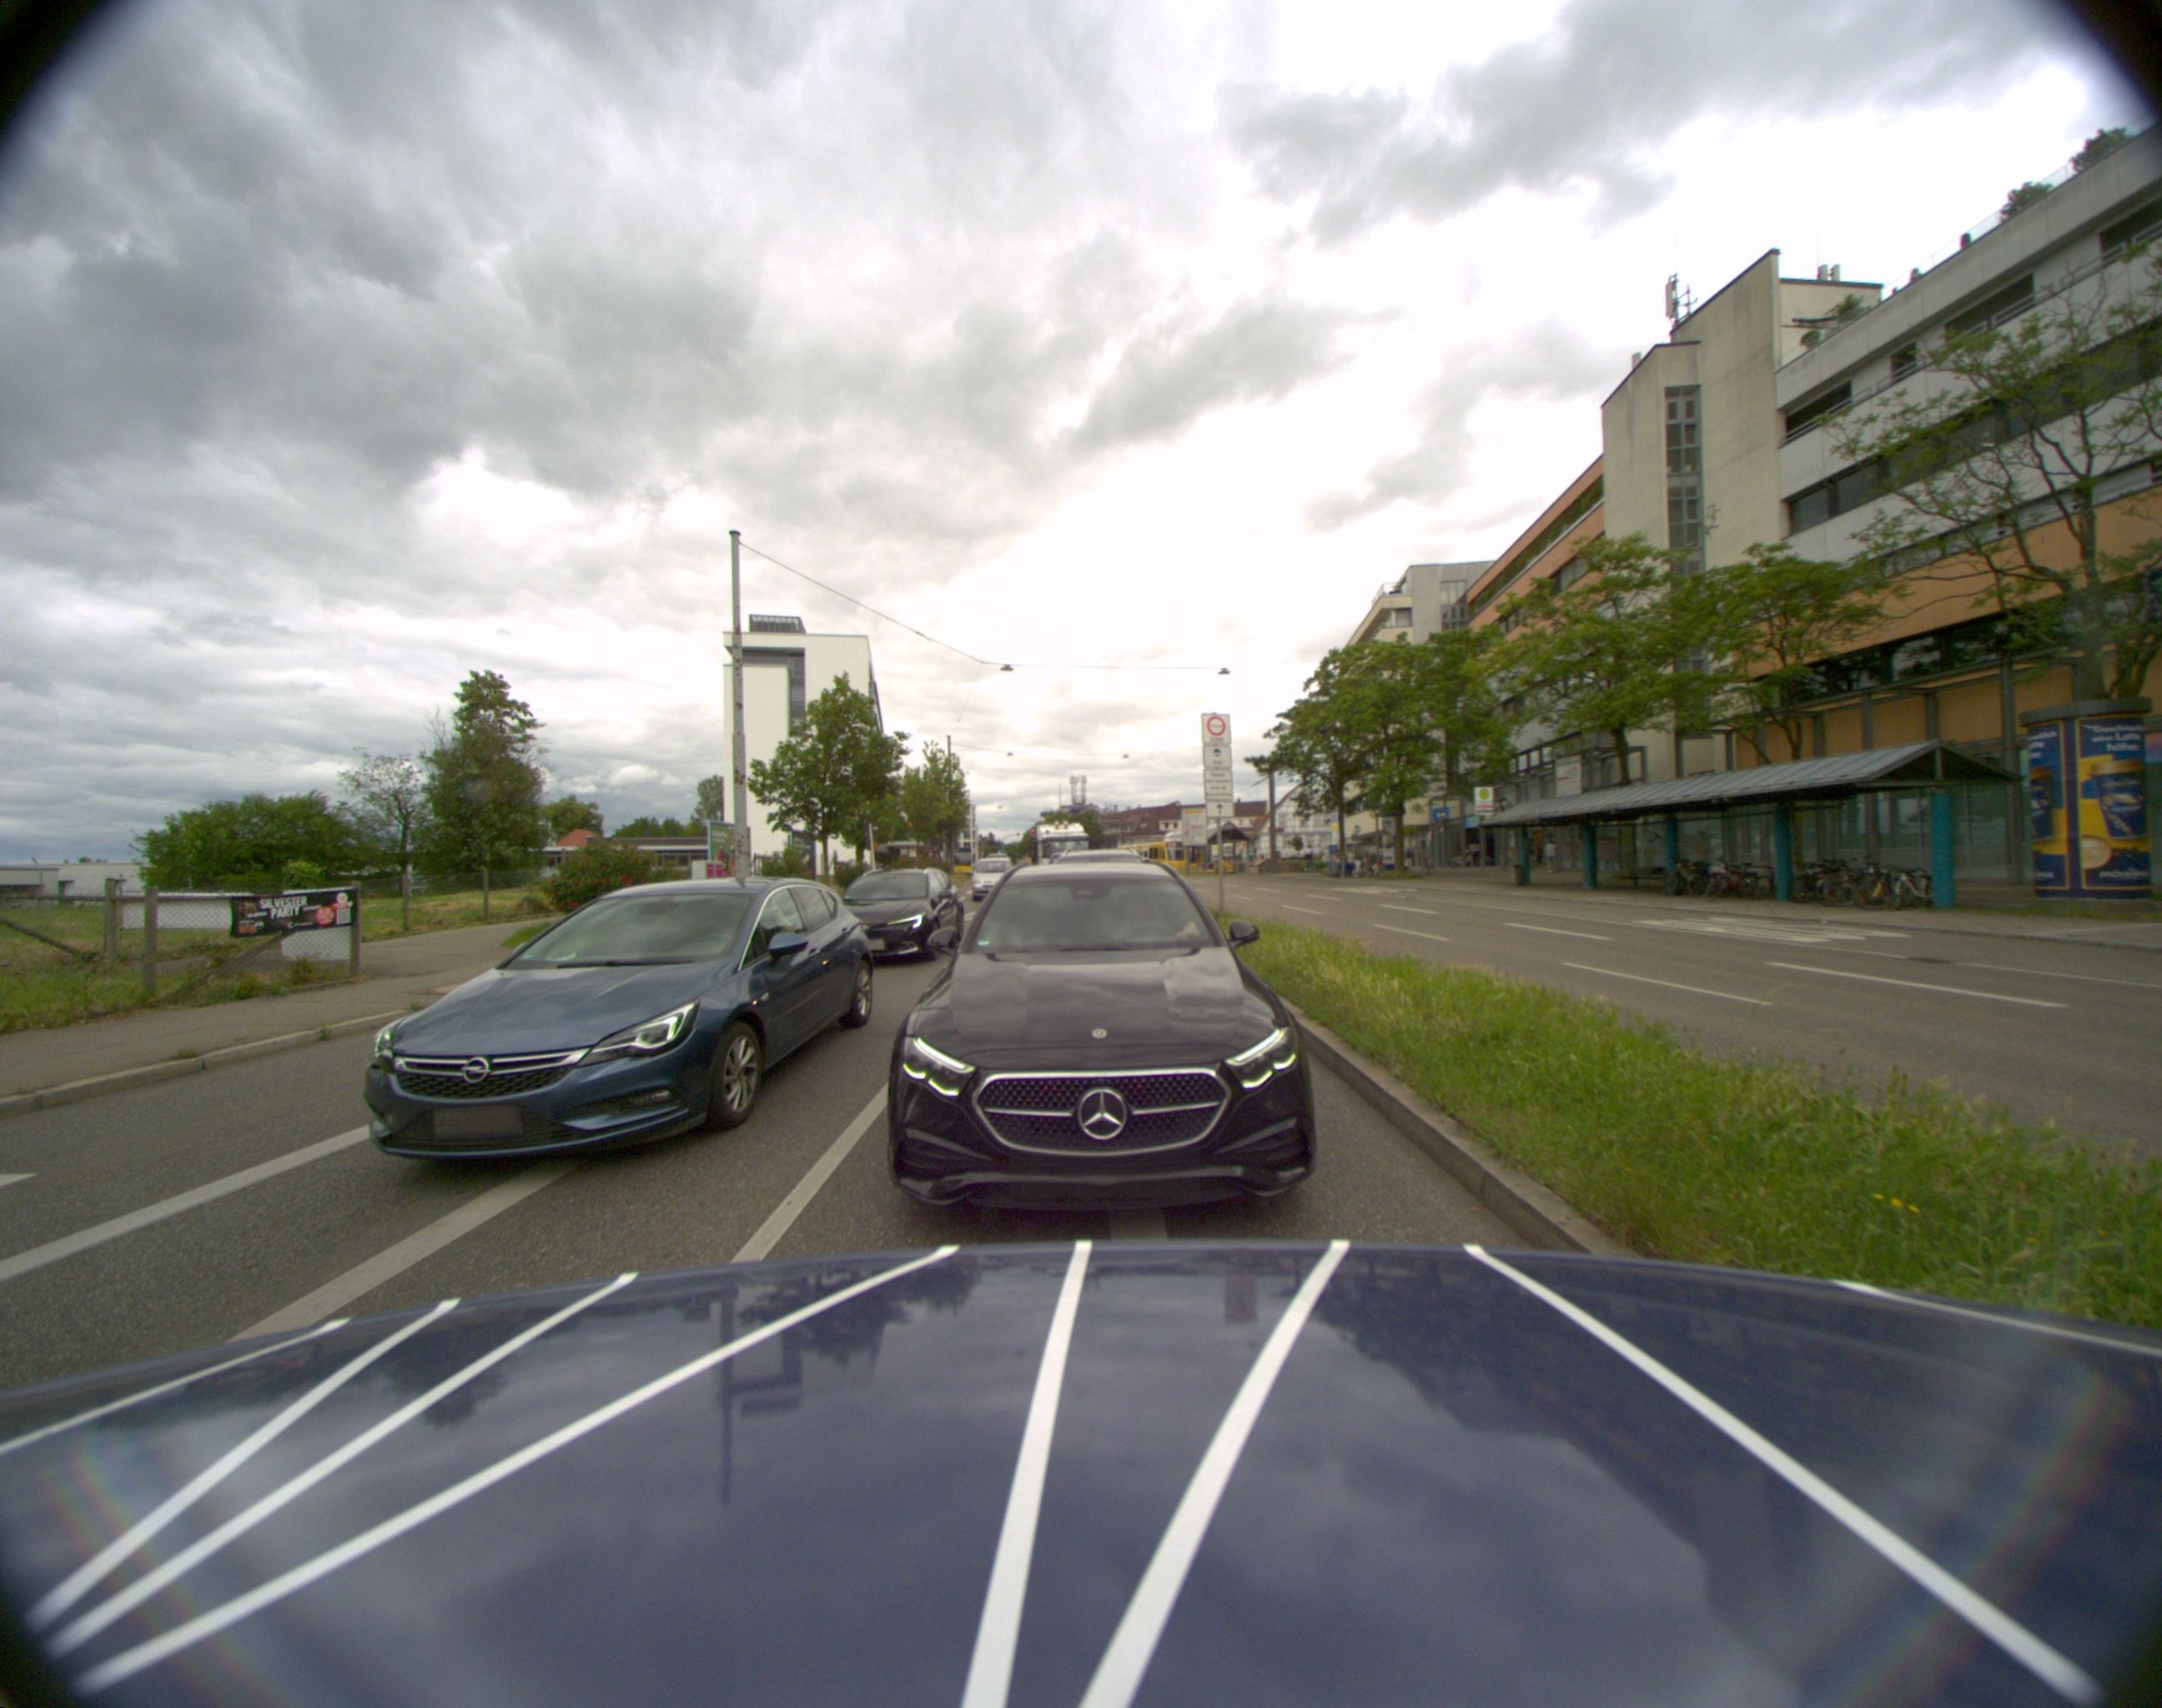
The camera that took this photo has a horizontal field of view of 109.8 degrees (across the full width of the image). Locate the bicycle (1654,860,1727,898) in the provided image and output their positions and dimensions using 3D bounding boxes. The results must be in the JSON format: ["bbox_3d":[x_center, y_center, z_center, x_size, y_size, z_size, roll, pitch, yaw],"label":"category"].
[{"bbox_3d":[18.203,0.745,22.708,1.735,1.035,0.549,-3,1,-2],"label":"bicycle"}]

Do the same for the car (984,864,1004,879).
[{"bbox_3d":[-10.232,2.029,89.078,2.001,1.592,3.995,-1,0,-12],"label":"car"}]

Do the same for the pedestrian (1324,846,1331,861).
[{"bbox_3d":[24.170,-0.049,74.385,0.555,1.485,0.454,-1,1,8],"label":"pedestrian"}]

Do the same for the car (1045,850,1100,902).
[{"bbox_3d":[-0.369,0.742,28.349,1.865,1.773,3.999,-1,0,-2],"label":"car"}]

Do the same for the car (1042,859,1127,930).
[{"bbox_3d":[0.043,0.910,18.913,1.865,1.520,3.999,-1,0,-1],"label":"car"}]

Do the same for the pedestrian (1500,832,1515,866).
[{"bbox_3d":[25.274,-0.314,44.990,0.566,2.002,0.611,-1,1,6],"label":"pedestrian"}]

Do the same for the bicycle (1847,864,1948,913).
[{"bbox_3d":[18.684,0.782,17.403,1.735,1.035,0.549,-2,1,-2],"label":"bicycle"}]

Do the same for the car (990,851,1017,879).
[{"bbox_3d":[-5.703,0.787,55.799,1.852,1.875,4.134,-3,0,-6],"label":"car"}]

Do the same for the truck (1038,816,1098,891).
[{"bbox_3d":[-0.769,-0.044,36.728,2.490,3.258,7.428,-1,0,-4],"label":"truck"}]

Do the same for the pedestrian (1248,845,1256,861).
[{"bbox_3d":[22.355,-0.141,99.151,0.879,2.002,1.010,-1,1,6],"label":"pedestrian"}]

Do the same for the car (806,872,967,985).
[{"bbox_3d":[-3.080,1.119,12.853,1.665,1.448,3.921,-2,0,0],"label":"car"}]

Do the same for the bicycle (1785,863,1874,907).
[{"bbox_3d":[19.024,0.772,19.314,1.735,1.035,0.549,-2,1,-2],"label":"bicycle"}]

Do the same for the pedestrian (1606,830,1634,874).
[{"bbox_3d":[25.219,-0.088,35.562,0.710,2.002,0.794,-2,1,-5],"label":"pedestrian"}]

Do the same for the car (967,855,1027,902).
[{"bbox_3d":[-3.274,0.916,30.163,1.851,1.606,3.783,-3,0,0],"label":"car"}]

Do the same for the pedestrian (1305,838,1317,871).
[{"bbox_3d":[16.161,0.048,53.436,0.590,2.294,0.608,-1,1,-2],"label":"pedestrian"}]

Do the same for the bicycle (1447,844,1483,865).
[{"bbox_3d":[26.990,0.027,53.406,2.139,1.367,0.620,-2,1,18],"label":"bicycle"}]

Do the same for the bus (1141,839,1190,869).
[{"bbox_3d":[8.693,0.003,79.019,2.556,2.966,8.498,-1,0,-11],"label":"bus"}]

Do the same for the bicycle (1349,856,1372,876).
[{"bbox_3d":[15.476,0.652,42.022,0.593,1.071,2.041,0,1,38],"label":"bicycle"}]

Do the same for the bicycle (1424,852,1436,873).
[{"bbox_3d":[19.483,0.466,42.390,0.593,1.119,2.040,0,1,24],"label":"bicycle"}]

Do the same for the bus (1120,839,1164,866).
[{"bbox_3d":[6.926,-0.155,87.954,2.556,2.966,9.790,-1,0,-11],"label":"bus"}]

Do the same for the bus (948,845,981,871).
[{"bbox_3d":[-12.823,0.391,82.729,2.969,2.616,12.137,-2,1,-11],"label":"bus"}]

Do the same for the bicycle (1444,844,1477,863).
[{"bbox_3d":[27.752,-0.030,55.558,2.138,1.358,0.620,-2,1,26],"label":"bicycle"}]

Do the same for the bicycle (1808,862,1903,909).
[{"bbox_3d":[18.625,0.749,18.289,1.735,1.035,0.549,-3,1,-2],"label":"bicycle"}]

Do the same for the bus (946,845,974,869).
[{"bbox_3d":[-15.230,0.346,95.052,2.969,2.616,12.911,-2,1,-11],"label":"bus"}]

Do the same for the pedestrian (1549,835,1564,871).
[{"bbox_3d":[24.096,-0.051,38.494,0.648,1.799,0.761,0,1,34],"label":"pedestrian"}]

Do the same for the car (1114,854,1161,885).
[{"bbox_3d":[2.985,0.824,40.960,1.714,1.472,4.286,-3,0,-6],"label":"car"}]

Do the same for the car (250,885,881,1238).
[{"bbox_3d":[-2.913,1.049,5.530,1.826,1.402,4.000,-2,0,0],"label":"car"}]

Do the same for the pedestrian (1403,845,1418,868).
[{"bbox_3d":[24.565,0.195,56.647,0.765,1.673,0.752,-1,1,1],"label":"pedestrian"}]

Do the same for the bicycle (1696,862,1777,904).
[{"bbox_3d":[17.947,0.787,20.815,1.735,1.035,0.549,-3,1,-2],"label":"bicycle"}]

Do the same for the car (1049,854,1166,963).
[{"bbox_3d":[0.392,0.819,13.486,1.734,1.601,4.000,-2,0,0],"label":"car"}]

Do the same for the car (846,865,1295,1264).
[{"bbox_3d":[-0.053,0.883,5.194,1.793,1.507,4.249,-1,0,0],"label":"car"}]

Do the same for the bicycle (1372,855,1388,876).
[{"bbox_3d":[16.398,0.620,41.651,0.593,1.071,2.041,0,1,29],"label":"bicycle"}]

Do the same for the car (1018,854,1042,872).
[{"bbox_3d":[-5.177,0.880,76.431,2.000,1.674,3.997,-4,1,-8],"label":"car"}]

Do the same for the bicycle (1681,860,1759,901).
[{"bbox_3d":[18.282,0.741,21.748,1.735,1.035,0.549,-4,1,-2],"label":"bicycle"}]

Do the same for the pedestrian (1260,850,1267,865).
[{"bbox_3d":[19.238,0.363,80.029,0.577,1.533,0.583,-1,1,-8],"label":"pedestrian"}]

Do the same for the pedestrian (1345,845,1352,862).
[{"bbox_3d":[19.361,-0.033,55.042,0.341,1.172,0.369,-1,1,-9],"label":"pedestrian"}]

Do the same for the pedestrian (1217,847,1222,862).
[{"bbox_3d":[19.486,0.080,106.873,0.742,2.002,0.939,-1,1,11],"label":"pedestrian"}]
